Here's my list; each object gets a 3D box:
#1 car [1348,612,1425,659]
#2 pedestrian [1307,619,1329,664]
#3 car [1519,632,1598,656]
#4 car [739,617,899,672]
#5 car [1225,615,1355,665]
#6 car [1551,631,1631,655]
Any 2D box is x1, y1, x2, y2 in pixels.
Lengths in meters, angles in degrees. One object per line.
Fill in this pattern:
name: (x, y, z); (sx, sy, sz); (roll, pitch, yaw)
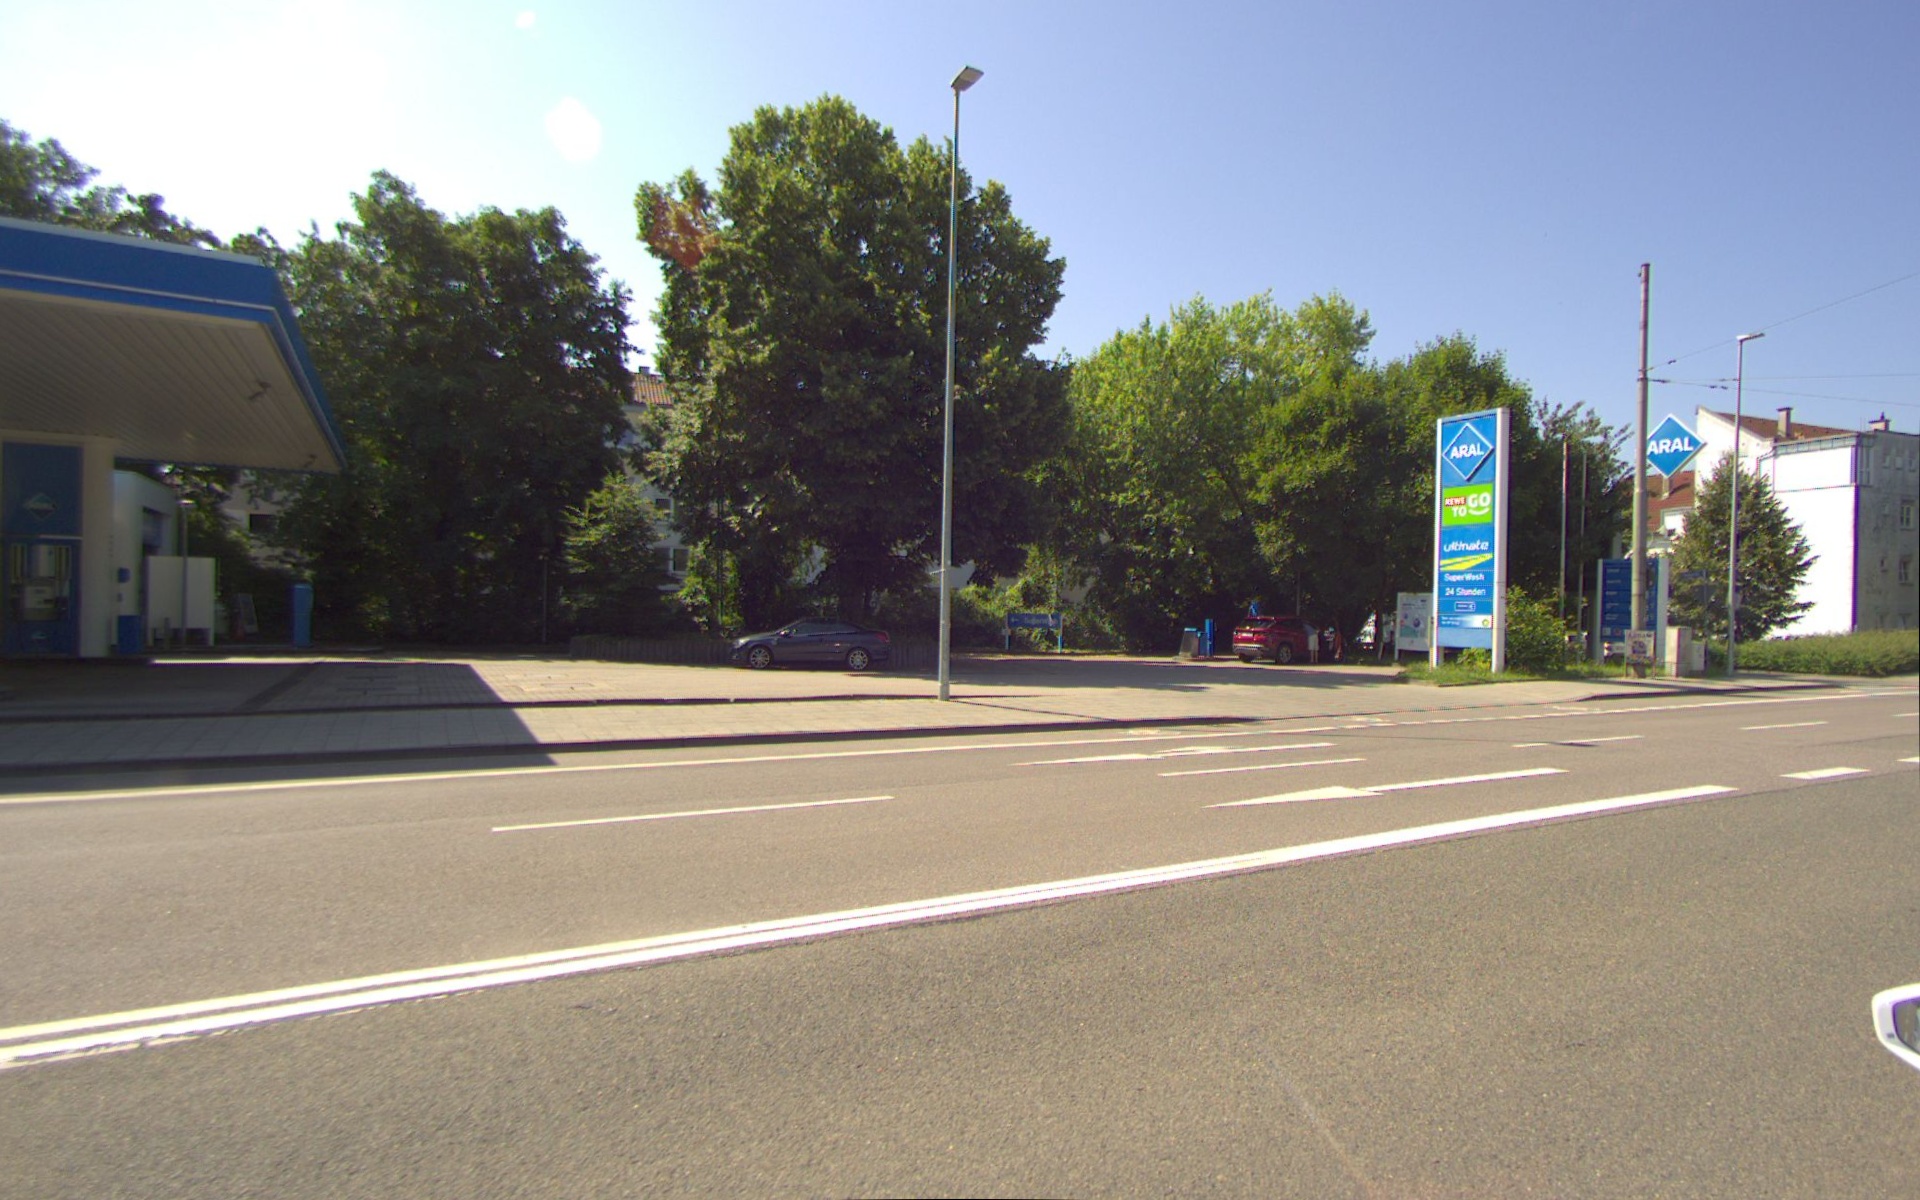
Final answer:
car: (24.236, 1.968, 57.241); (1.759, 2.572, 4.173); (1, -1, -16)
pedestrian: (12.234, 1.419, 34.340); (0.494, 1.501, 0.496); (1, 0, -30)
car: (32.987, 2.412, 55.477); (1.550, 1.221, 3.647); (1, -1, -18)
car: (-3.794, 1.197, 27.349); (4.164, 1.363, 1.803); (1, -1, -7)
car: (11.446, 1.341, 34.764); (4.464, 1.591, 1.791); (0, 0, -30)
car: (35.173, 2.403, 56.114); (1.550, 1.221, 3.647); (1, -1, -18)
